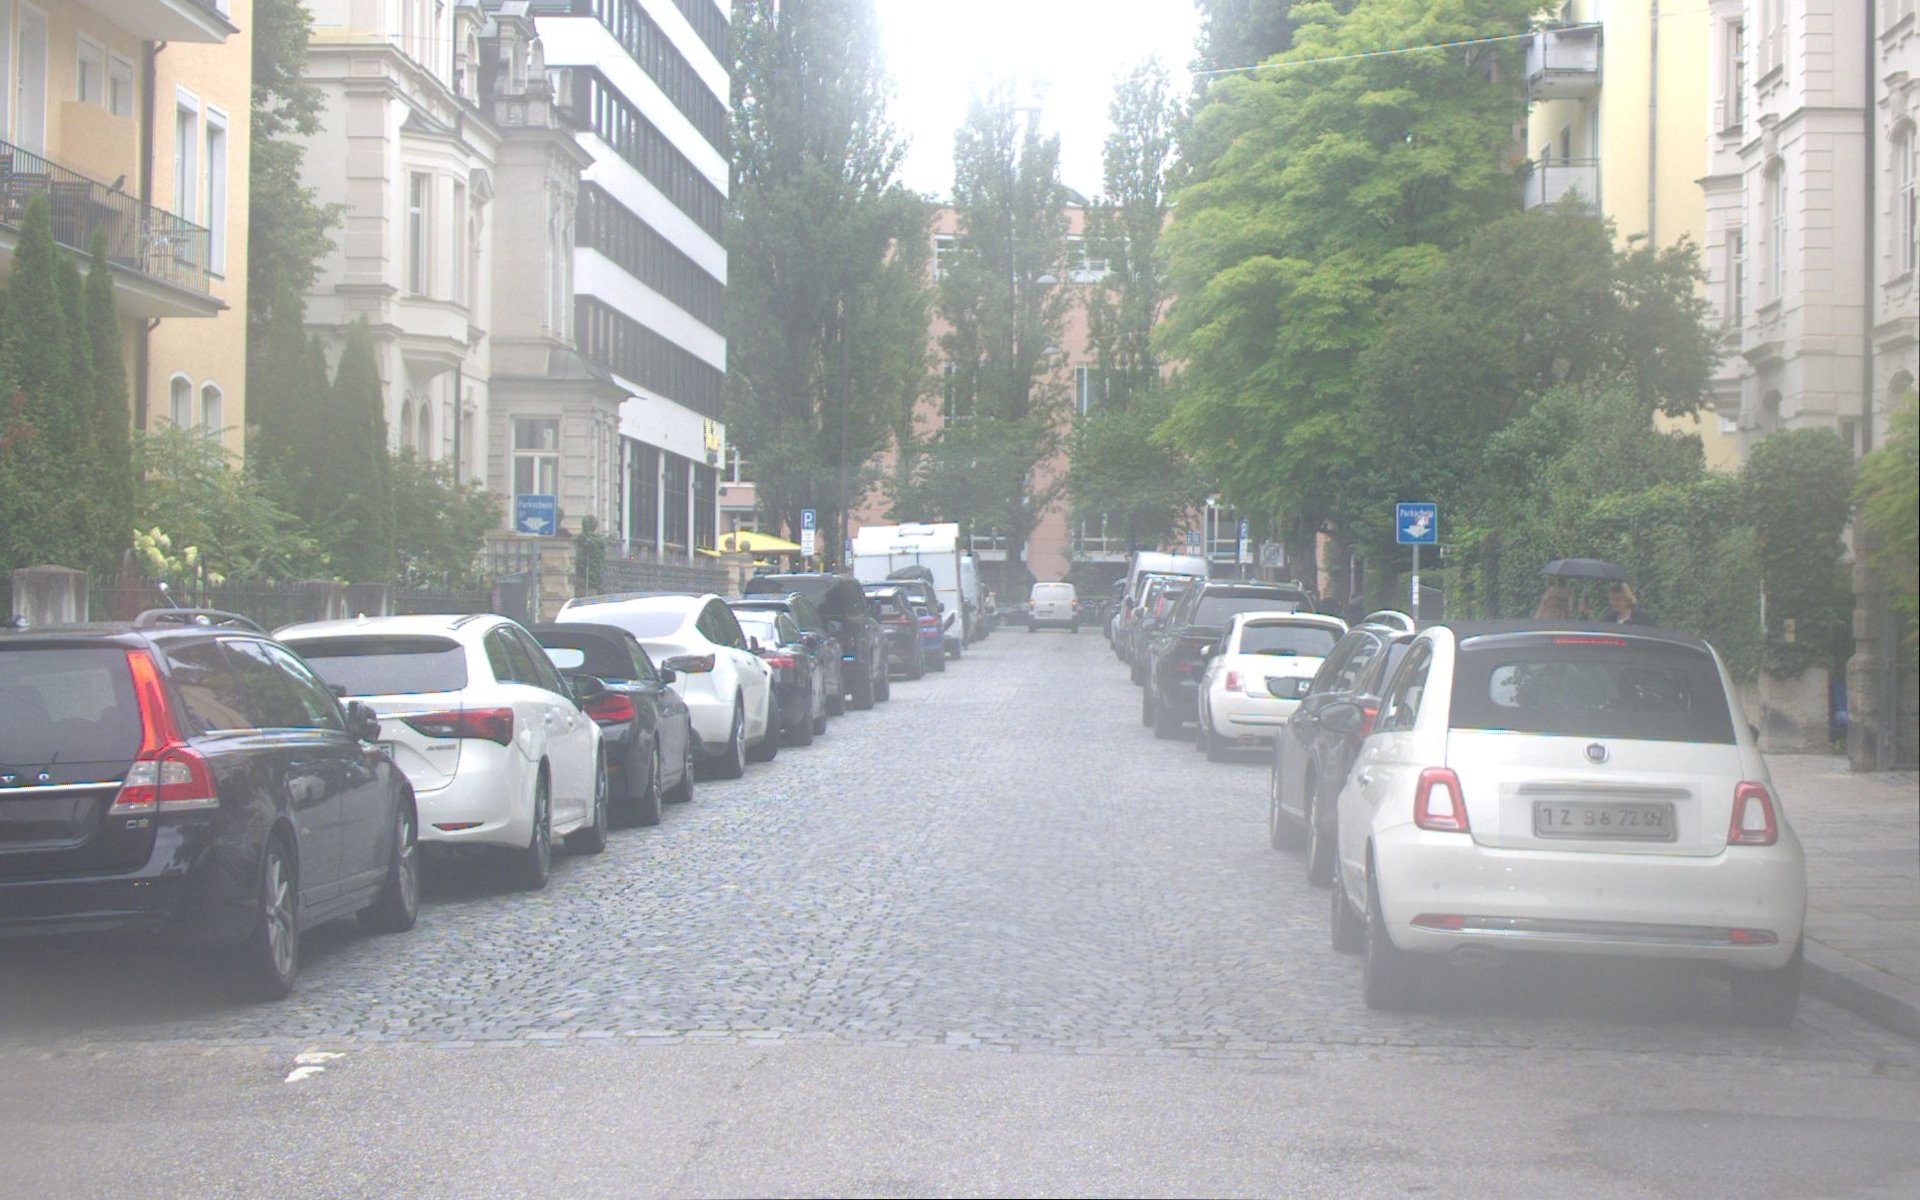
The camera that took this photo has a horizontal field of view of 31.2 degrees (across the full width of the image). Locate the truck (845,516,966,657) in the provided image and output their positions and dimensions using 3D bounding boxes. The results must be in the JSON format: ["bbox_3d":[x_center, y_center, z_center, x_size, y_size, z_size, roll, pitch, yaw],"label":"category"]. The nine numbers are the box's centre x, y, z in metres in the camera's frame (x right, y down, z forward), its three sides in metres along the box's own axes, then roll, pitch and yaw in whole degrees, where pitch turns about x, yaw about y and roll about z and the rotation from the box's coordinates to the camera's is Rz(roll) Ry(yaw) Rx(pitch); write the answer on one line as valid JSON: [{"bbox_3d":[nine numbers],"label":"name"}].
[{"bbox_3d":[-1.183,-0.314,78.016,2.508,3.021,6.384,-1,0,1],"label":"truck"}]

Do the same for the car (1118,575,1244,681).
[{"bbox_3d":[3.841,0.480,60.449,1.963,1.753,4.954,1,0,1],"label":"car"}]

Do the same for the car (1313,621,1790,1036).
[{"bbox_3d":[2.318,0.829,14.248,1.502,1.466,3.795,1,0,3],"label":"car"}]

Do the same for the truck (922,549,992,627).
[{"bbox_3d":[-0.080,-0.350,106.626,1.993,2.339,4.068,1,0,2],"label":"truck"}]

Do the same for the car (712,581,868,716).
[{"bbox_3d":[-2.097,0.599,43.349,1.580,1.584,4.055,-1,-1,2],"label":"car"}]

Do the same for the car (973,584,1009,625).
[{"bbox_3d":[1.201,0.168,132.609,1.276,1.536,3.118,1,0,2],"label":"car"}]

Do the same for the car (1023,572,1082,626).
[{"bbox_3d":[3.407,-0.037,126.159,1.997,1.929,3.999,1,0,3],"label":"car"}]

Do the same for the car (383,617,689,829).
[{"bbox_3d":[-2.960,0.819,24.797,1.773,1.355,4.391,1,0,-2],"label":"car"}]

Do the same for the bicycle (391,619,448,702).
[{"bbox_3d":[-6.666,0.734,42.458,0.352,0.999,1.572,1,0,3],"label":"bicycle"}]

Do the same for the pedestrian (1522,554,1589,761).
[{"bbox_3d":[5.377,0.508,31.047,0.576,1.844,0.681,1,0,10],"label":"pedestrian"}]

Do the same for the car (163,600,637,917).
[{"bbox_3d":[-3.023,0.794,19.512,1.774,1.531,4.540,-2,0,2],"label":"car"}]

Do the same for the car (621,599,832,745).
[{"bbox_3d":[-2.424,0.729,36.622,1.774,1.424,4.390,1,0,2],"label":"car"}]

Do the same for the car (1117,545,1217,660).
[{"bbox_3d":[4.729,0.028,79.090,1.895,2.418,5.611,4,1,1],"label":"car"}]

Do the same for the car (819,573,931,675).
[{"bbox_3d":[-1.487,0.422,61.389,1.773,1.712,4.391,1,0,1],"label":"car"}]

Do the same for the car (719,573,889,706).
[{"bbox_3d":[-2.125,0.503,48.182,1.982,1.731,4.722,1,1,2],"label":"car"}]

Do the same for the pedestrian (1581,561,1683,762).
[{"bbox_3d":[6.120,0.556,31.339,0.628,1.802,0.660,1,0,-21],"label":"pedestrian"}]

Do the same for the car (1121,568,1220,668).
[{"bbox_3d":[4.455,0.377,73.379,1.800,1.943,4.860,4,0,1],"label":"car"}]

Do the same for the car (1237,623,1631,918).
[{"bbox_3d":[2.659,0.904,20.256,1.648,1.417,4.632,4,0,1],"label":"car"}]

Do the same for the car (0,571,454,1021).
[{"bbox_3d":[-3.458,0.697,14.608,1.852,1.581,4.748,1,0,0],"label":"car"}]

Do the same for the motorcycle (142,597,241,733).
[{"bbox_3d":[-6.954,0.575,31.160,0.491,1.190,1.579,1,0,1],"label":"motorcycle"}]

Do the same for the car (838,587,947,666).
[{"bbox_3d":[-1.275,0.506,66.617,1.940,1.454,4.058,1,0,1],"label":"car"}]

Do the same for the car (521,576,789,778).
[{"bbox_3d":[-2.645,0.648,30.782,1.774,1.642,4.390,1,0,3],"label":"car"}]

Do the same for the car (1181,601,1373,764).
[{"bbox_3d":[3.136,0.794,34.603,1.630,1.464,3.659,3,0,2],"label":"car"}]

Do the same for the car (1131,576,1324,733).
[{"bbox_3d":[3.040,0.607,40.083,1.875,1.667,5.490,1,0,1],"label":"car"}]
